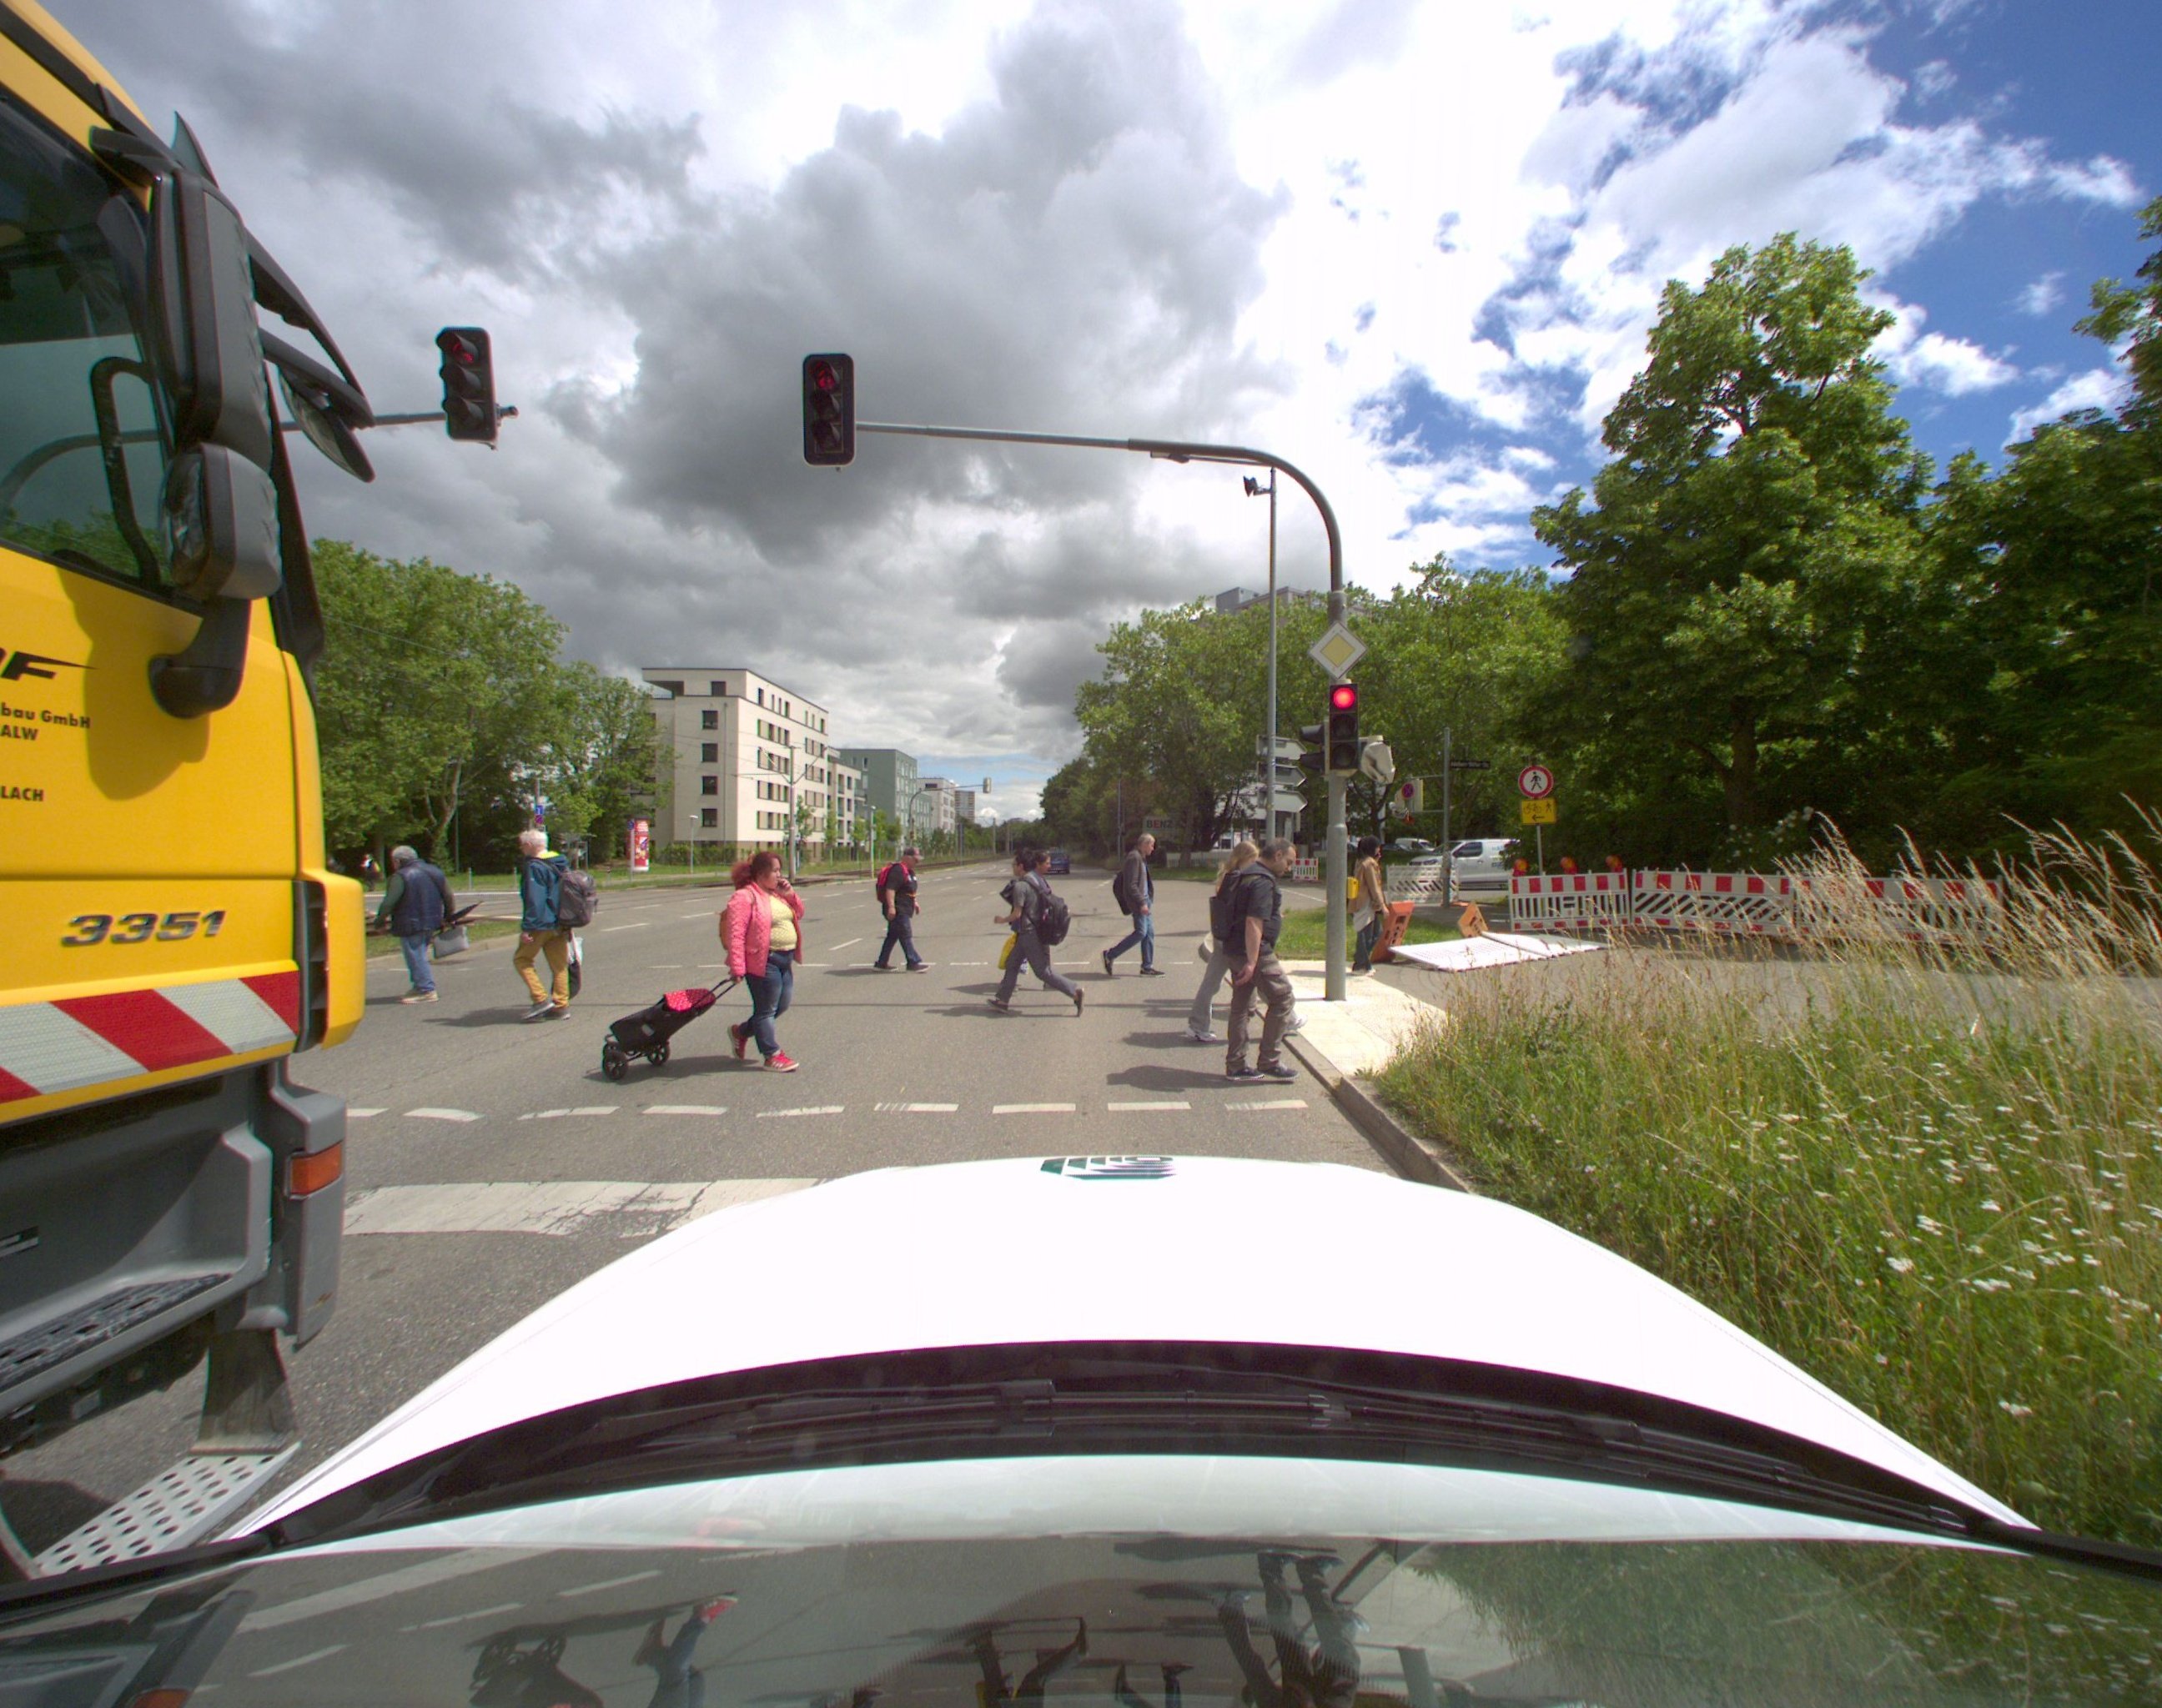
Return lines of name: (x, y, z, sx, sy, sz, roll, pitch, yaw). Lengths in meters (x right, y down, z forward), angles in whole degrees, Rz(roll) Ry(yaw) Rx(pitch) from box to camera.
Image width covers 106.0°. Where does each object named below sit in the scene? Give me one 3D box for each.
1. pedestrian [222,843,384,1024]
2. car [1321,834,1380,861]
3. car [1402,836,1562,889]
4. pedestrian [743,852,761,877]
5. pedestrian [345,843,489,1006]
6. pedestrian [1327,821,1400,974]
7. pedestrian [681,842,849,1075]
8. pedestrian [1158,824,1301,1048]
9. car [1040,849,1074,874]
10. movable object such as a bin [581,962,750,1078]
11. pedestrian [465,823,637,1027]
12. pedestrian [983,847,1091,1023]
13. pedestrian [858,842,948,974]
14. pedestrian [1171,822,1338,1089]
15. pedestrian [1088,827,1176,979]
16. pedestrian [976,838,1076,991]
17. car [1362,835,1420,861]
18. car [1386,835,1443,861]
pedestrian: (-7.412, 0.724, 7.797, 0.820, 1.640, 0.732, 0, 0, -4)
car: (20.571, -0.489, 62.243, 2.006, 2.013, 3.962, -1, 0, -29)
car: (14.921, 0.300, 30.448, 5.063, 1.874, 1.947, -1, 0, -2)
pedestrian: (-20.287, 0.627, 50.187, 0.827, 1.516, 0.636, -1, 0, 1)
pedestrian: (-6.968, 0.710, 8.587, 0.865, 1.634, 0.765, -1, 0, 0)
pedestrian: (3.380, 0.498, 9.782, 0.775, 1.742, 0.832, -1, 0, 18)
pedestrian: (-2.232, 0.701, 5.844, 0.877, 1.554, 0.747, -1, 0, 2)
pedestrian: (1.140, 0.607, 6.481, 1.016, 1.648, 0.930, -1, 0, 4)
car: (-1.484, 0.439, 51.755, 1.975, 1.486, 4.492, -1, 0, 1)
movable object such as a bin: (-2.948, 1.164, 5.854, 0.792, 0.662, 0.778, -1, 0, 2)
pedestrian: (-4.911, 0.614, 7.631, 1.008, 1.774, 0.946, -1, 0, -6)
pedestrian: (-0.408, 0.713, 7.669, 0.944, 1.552, 0.842, -1, 0, -3)
pedestrian: (-2.252, 0.657, 10.406, 0.889, 1.596, 0.909, -1, 0, 3)
pedestrian: (1.125, 0.627, 5.494, 0.955, 1.648, 0.881, -1, 0, 2)
pedestrian: (0.638, 0.573, 9.957, 0.998, 1.773, 0.930, -1, 0, 5)
pedestrian: (-0.586, 0.638, 9.055, 0.907, 1.607, 0.931, -1, 0, 9)
car: (24.602, -0.497, 64.725, 2.006, 2.013, 3.962, -1, 0, -29)
car: (27.316, -0.501, 66.858, 2.006, 2.013, 3.962, -1, 0, -29)
